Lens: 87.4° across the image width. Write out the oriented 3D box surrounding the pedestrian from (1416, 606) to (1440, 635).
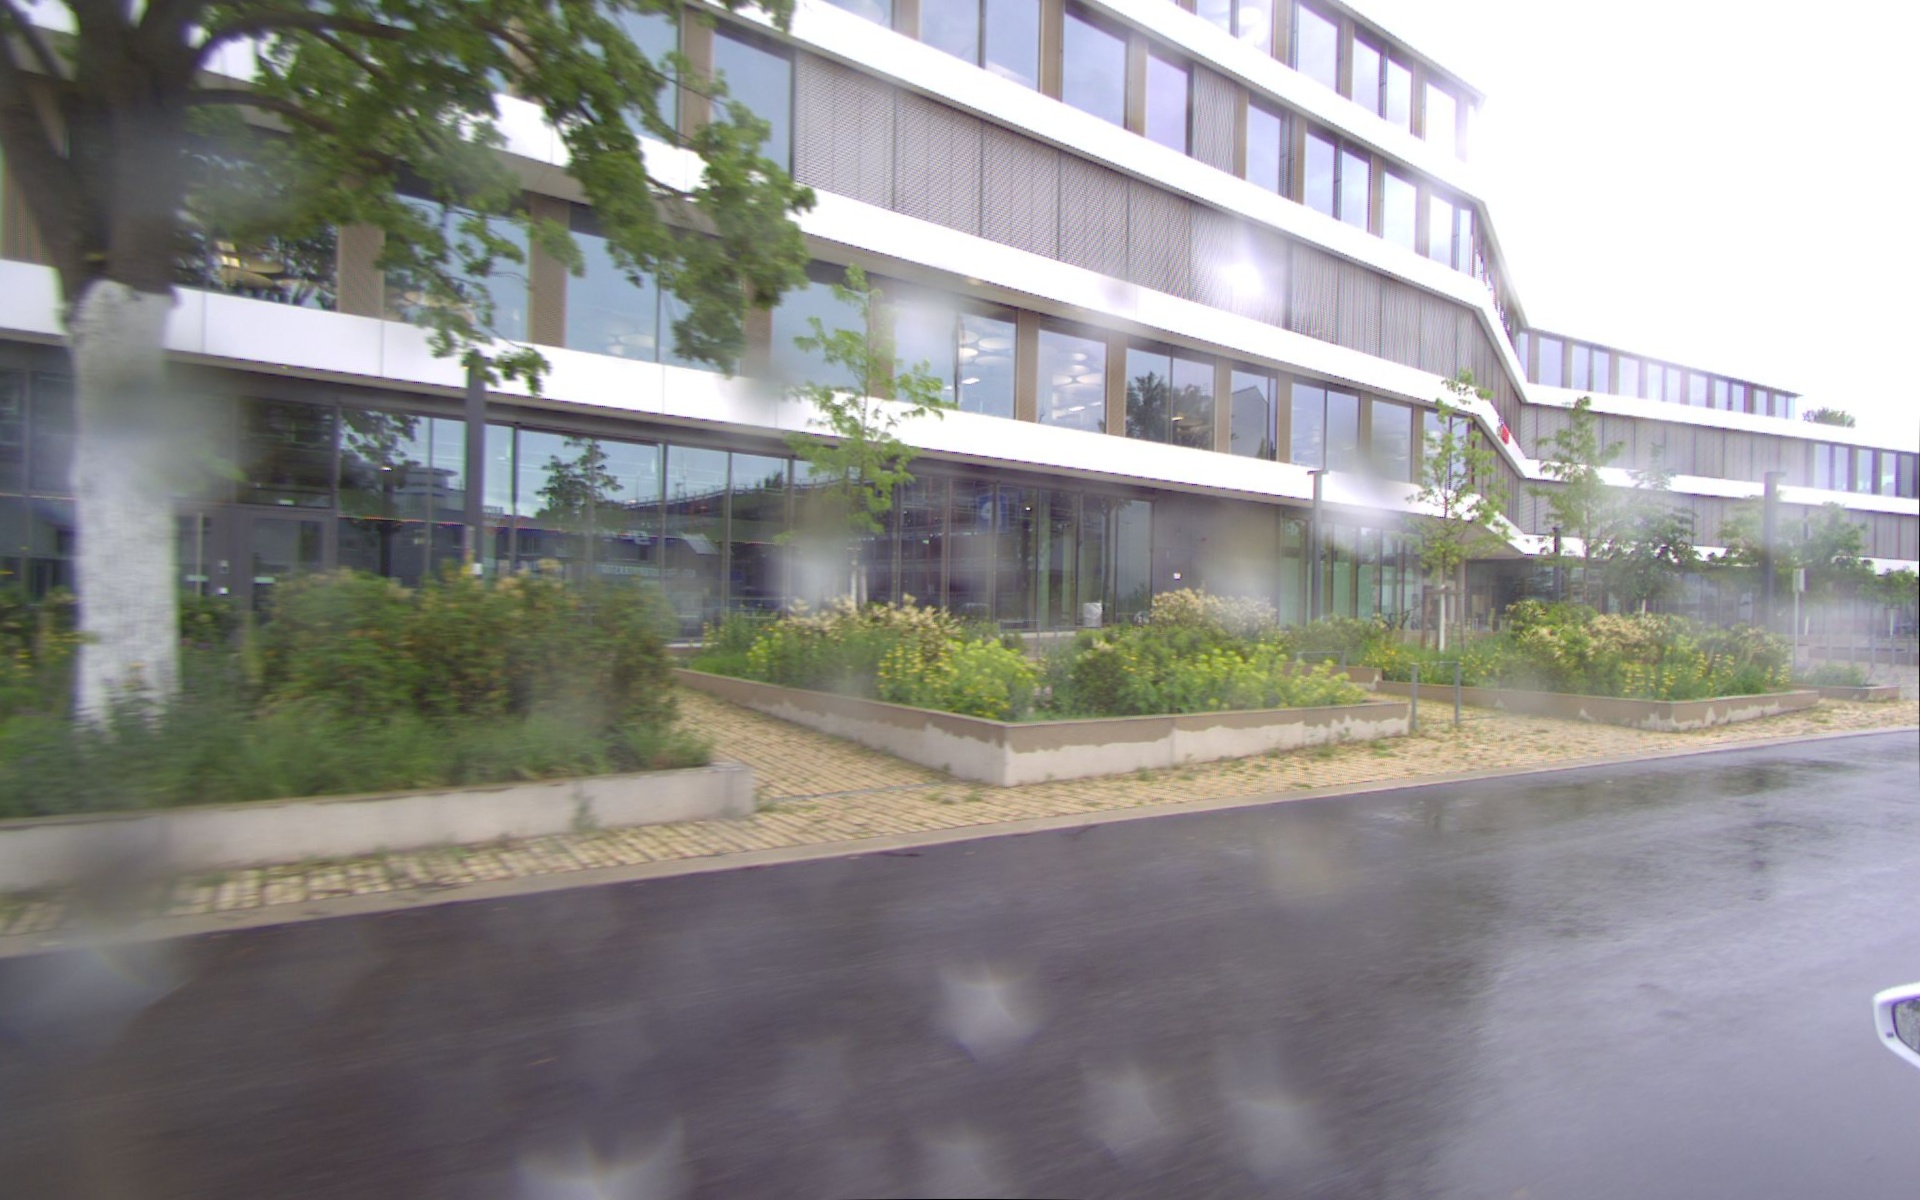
[{"bbox_3d":[22.638,0.974,48.611,0.882,1.332,1.059,6,2,29],"label":"pedestrian"}]
